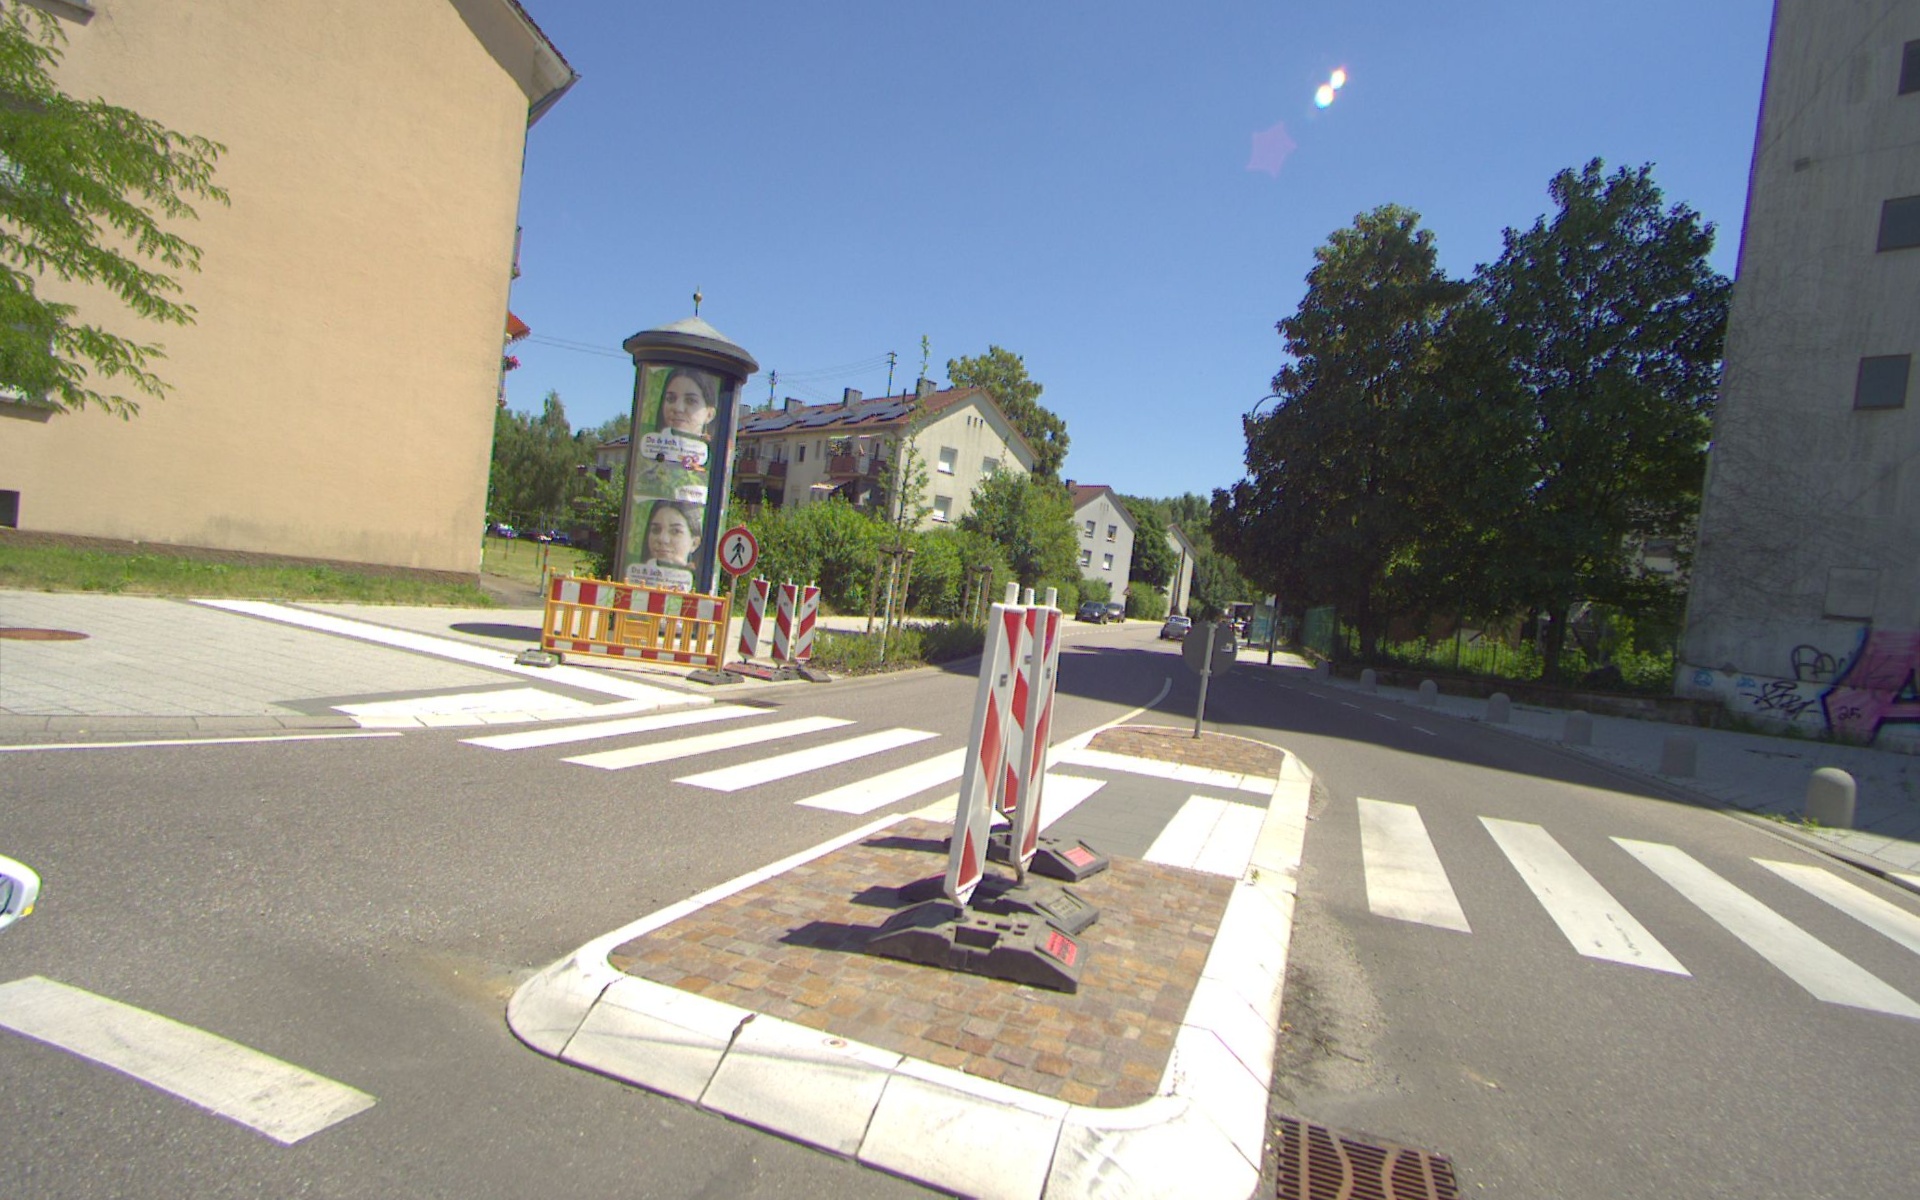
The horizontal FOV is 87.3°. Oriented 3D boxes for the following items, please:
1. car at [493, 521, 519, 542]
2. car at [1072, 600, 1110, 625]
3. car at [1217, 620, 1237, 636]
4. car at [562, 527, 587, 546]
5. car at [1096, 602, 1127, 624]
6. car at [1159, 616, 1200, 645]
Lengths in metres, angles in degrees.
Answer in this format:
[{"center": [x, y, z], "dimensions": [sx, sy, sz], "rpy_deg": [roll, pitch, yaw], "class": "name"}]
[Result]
[{"center": [-35.994, -5.416, 79.788], "dimensions": [1.721, 1.455, 3.688], "rpy_deg": [5, 1, -24], "class": "car"}, {"center": [8.748, 0.858, 66.806], "dimensions": [1.711, 1.455, 3.708], "rpy_deg": [6, 1, 18], "class": "car"}, {"center": [28.143, 2.983, 106.059], "dimensions": [1.711, 1.455, 3.708], "rpy_deg": [6, 1, 18], "class": "car"}, {"center": [-32.917, -5.401, 85.877], "dimensions": [1.721, 1.455, 3.688], "rpy_deg": [5, 1, -24], "class": "car"}, {"center": [11.781, 1.021, 78.091], "dimensions": [1.711, 1.455, 3.708], "rpy_deg": [6, 1, 18], "class": "car"}, {"center": [12.834, 1.764, 58.645], "dimensions": [1.712, 1.455, 3.707], "rpy_deg": [6, 1, 20], "class": "car"}]
